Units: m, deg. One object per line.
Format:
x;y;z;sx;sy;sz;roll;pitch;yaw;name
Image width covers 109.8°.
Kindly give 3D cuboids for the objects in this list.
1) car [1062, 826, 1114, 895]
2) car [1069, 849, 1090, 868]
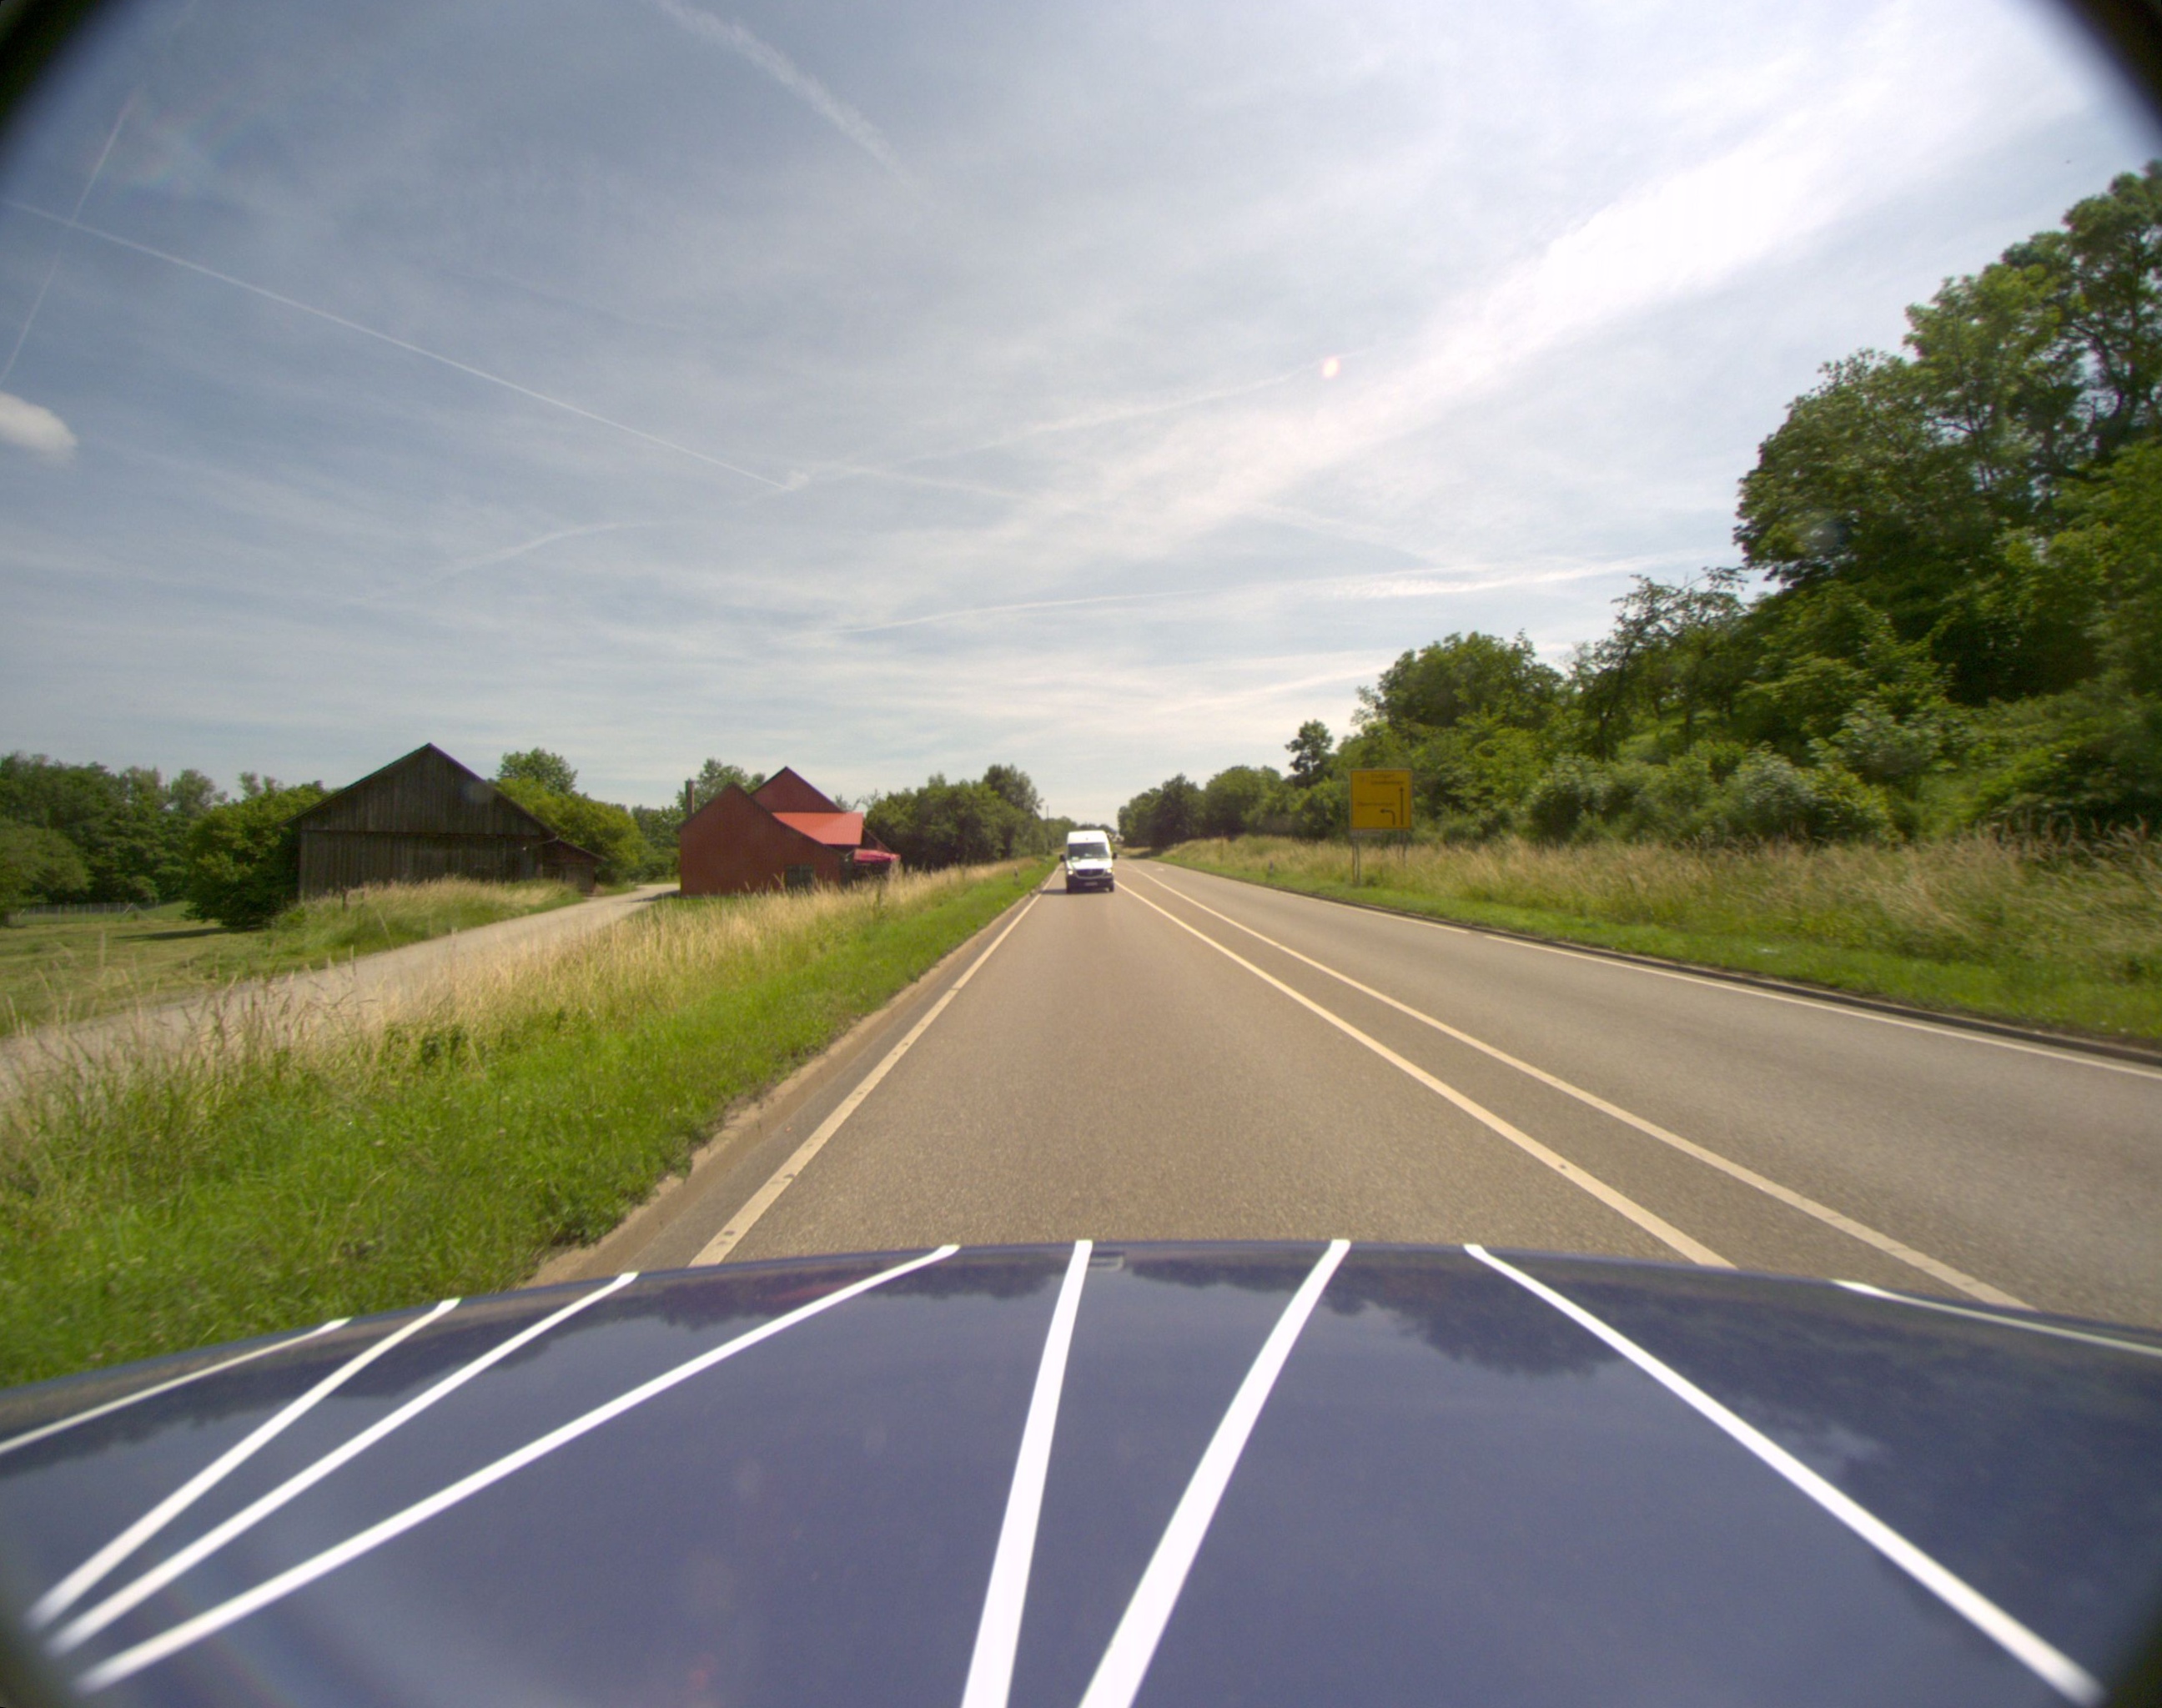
0.375;0.258;32.924;1.960;2.655;5.681;-2;0;2;car
-0.140;0.493;74.198;1.848;1.691;4.245;-1;-2;2;car
